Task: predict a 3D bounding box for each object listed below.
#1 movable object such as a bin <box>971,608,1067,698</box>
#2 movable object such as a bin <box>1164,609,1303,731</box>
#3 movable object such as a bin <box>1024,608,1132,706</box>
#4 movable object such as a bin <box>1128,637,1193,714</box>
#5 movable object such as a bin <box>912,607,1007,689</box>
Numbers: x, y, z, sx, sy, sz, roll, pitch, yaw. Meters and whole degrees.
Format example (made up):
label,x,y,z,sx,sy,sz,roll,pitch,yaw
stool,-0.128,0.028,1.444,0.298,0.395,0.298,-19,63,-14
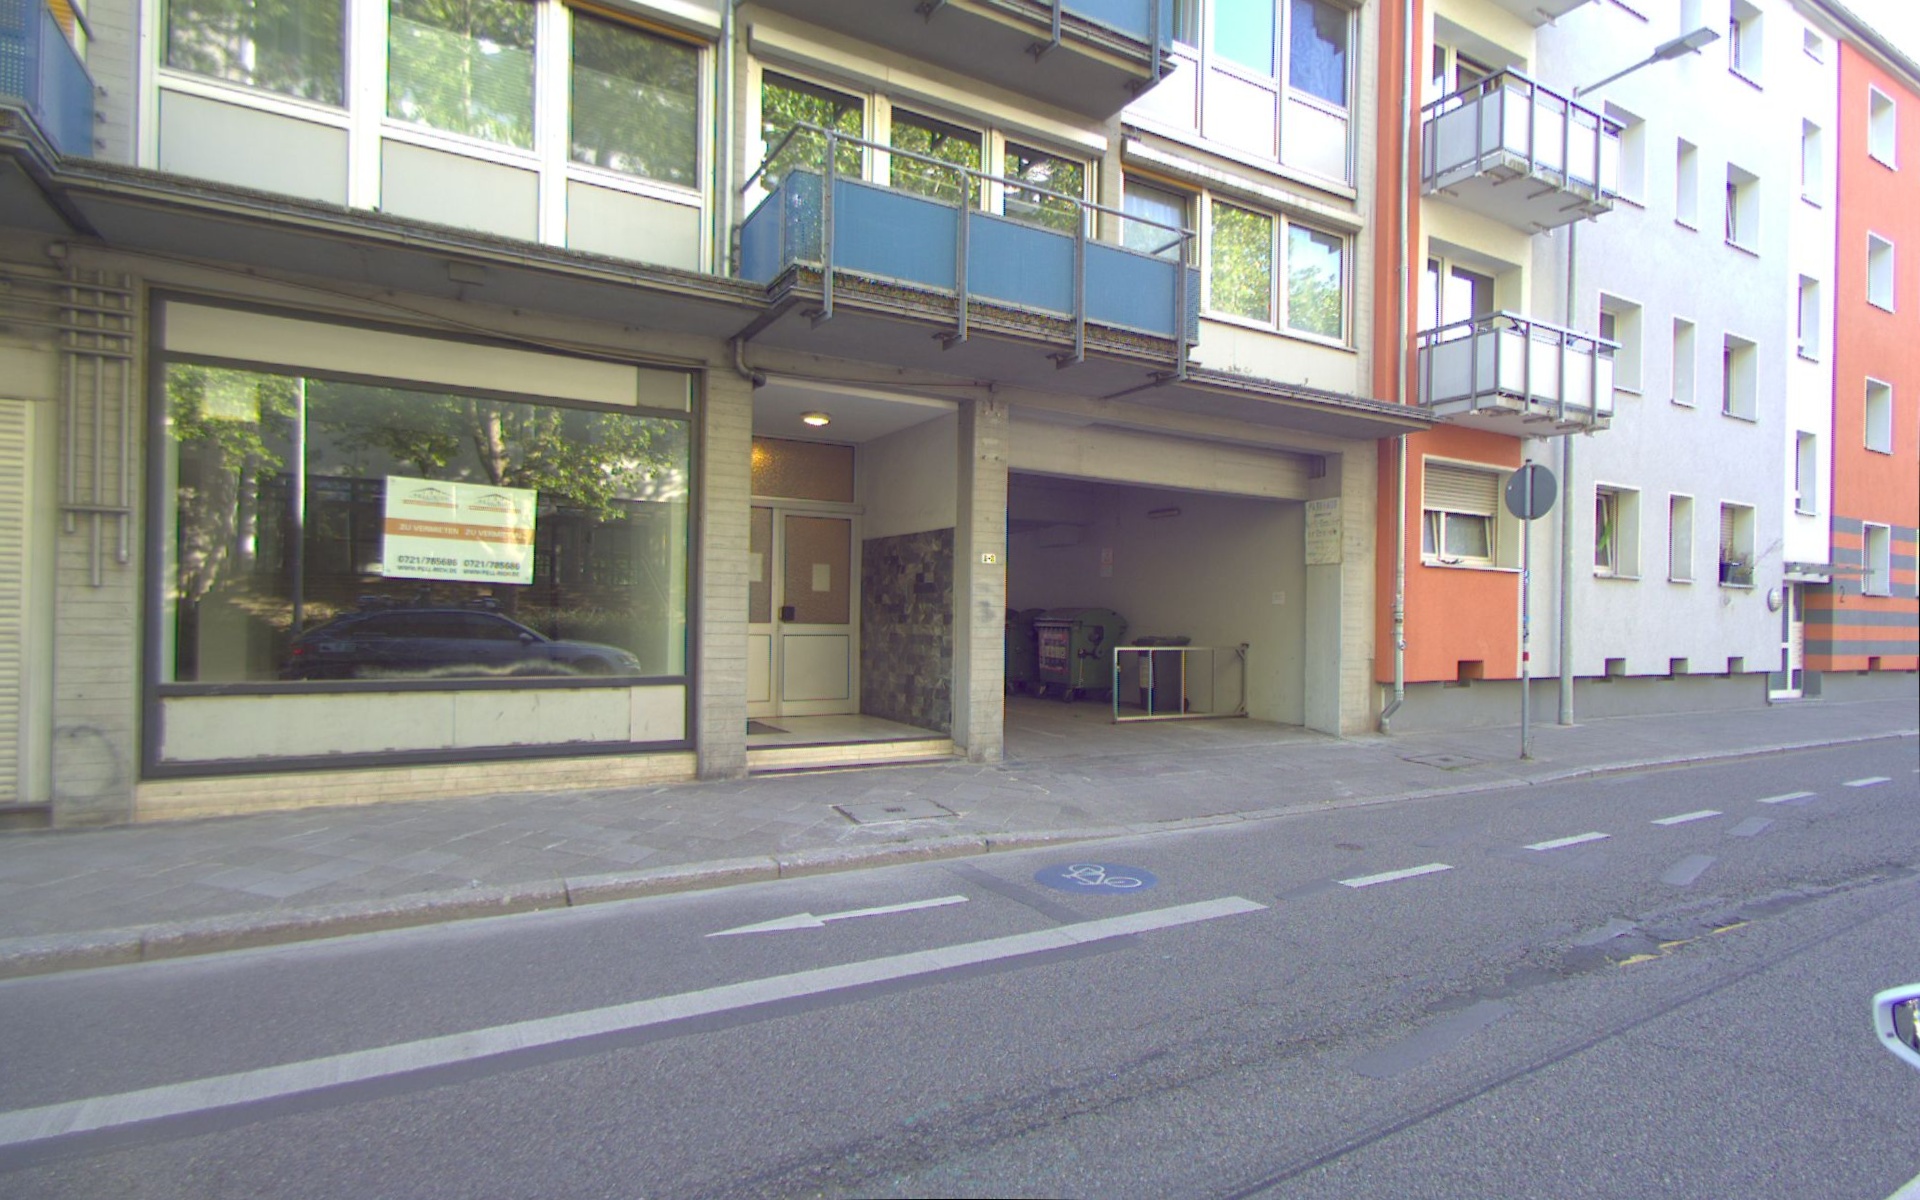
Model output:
label,x,y,z,sx,sy,sz,roll,pitch,yaw
movable object such as a bin,0.996,0.873,17.179,1.119,1.449,1.322,1,0,-28
movable object such as a bin,3.488,0.854,12.908,1.119,1.449,1.322,1,0,-28
movable object such as a bin,1.847,0.866,15.856,1.128,1.449,1.342,1,0,-28
movable object such as a bin,2.897,1.079,14.538,0.695,1.055,0.593,2,0,-30
movable object such as a bin,-0.032,0.871,18.882,1.119,1.449,1.666,1,-1,-28
